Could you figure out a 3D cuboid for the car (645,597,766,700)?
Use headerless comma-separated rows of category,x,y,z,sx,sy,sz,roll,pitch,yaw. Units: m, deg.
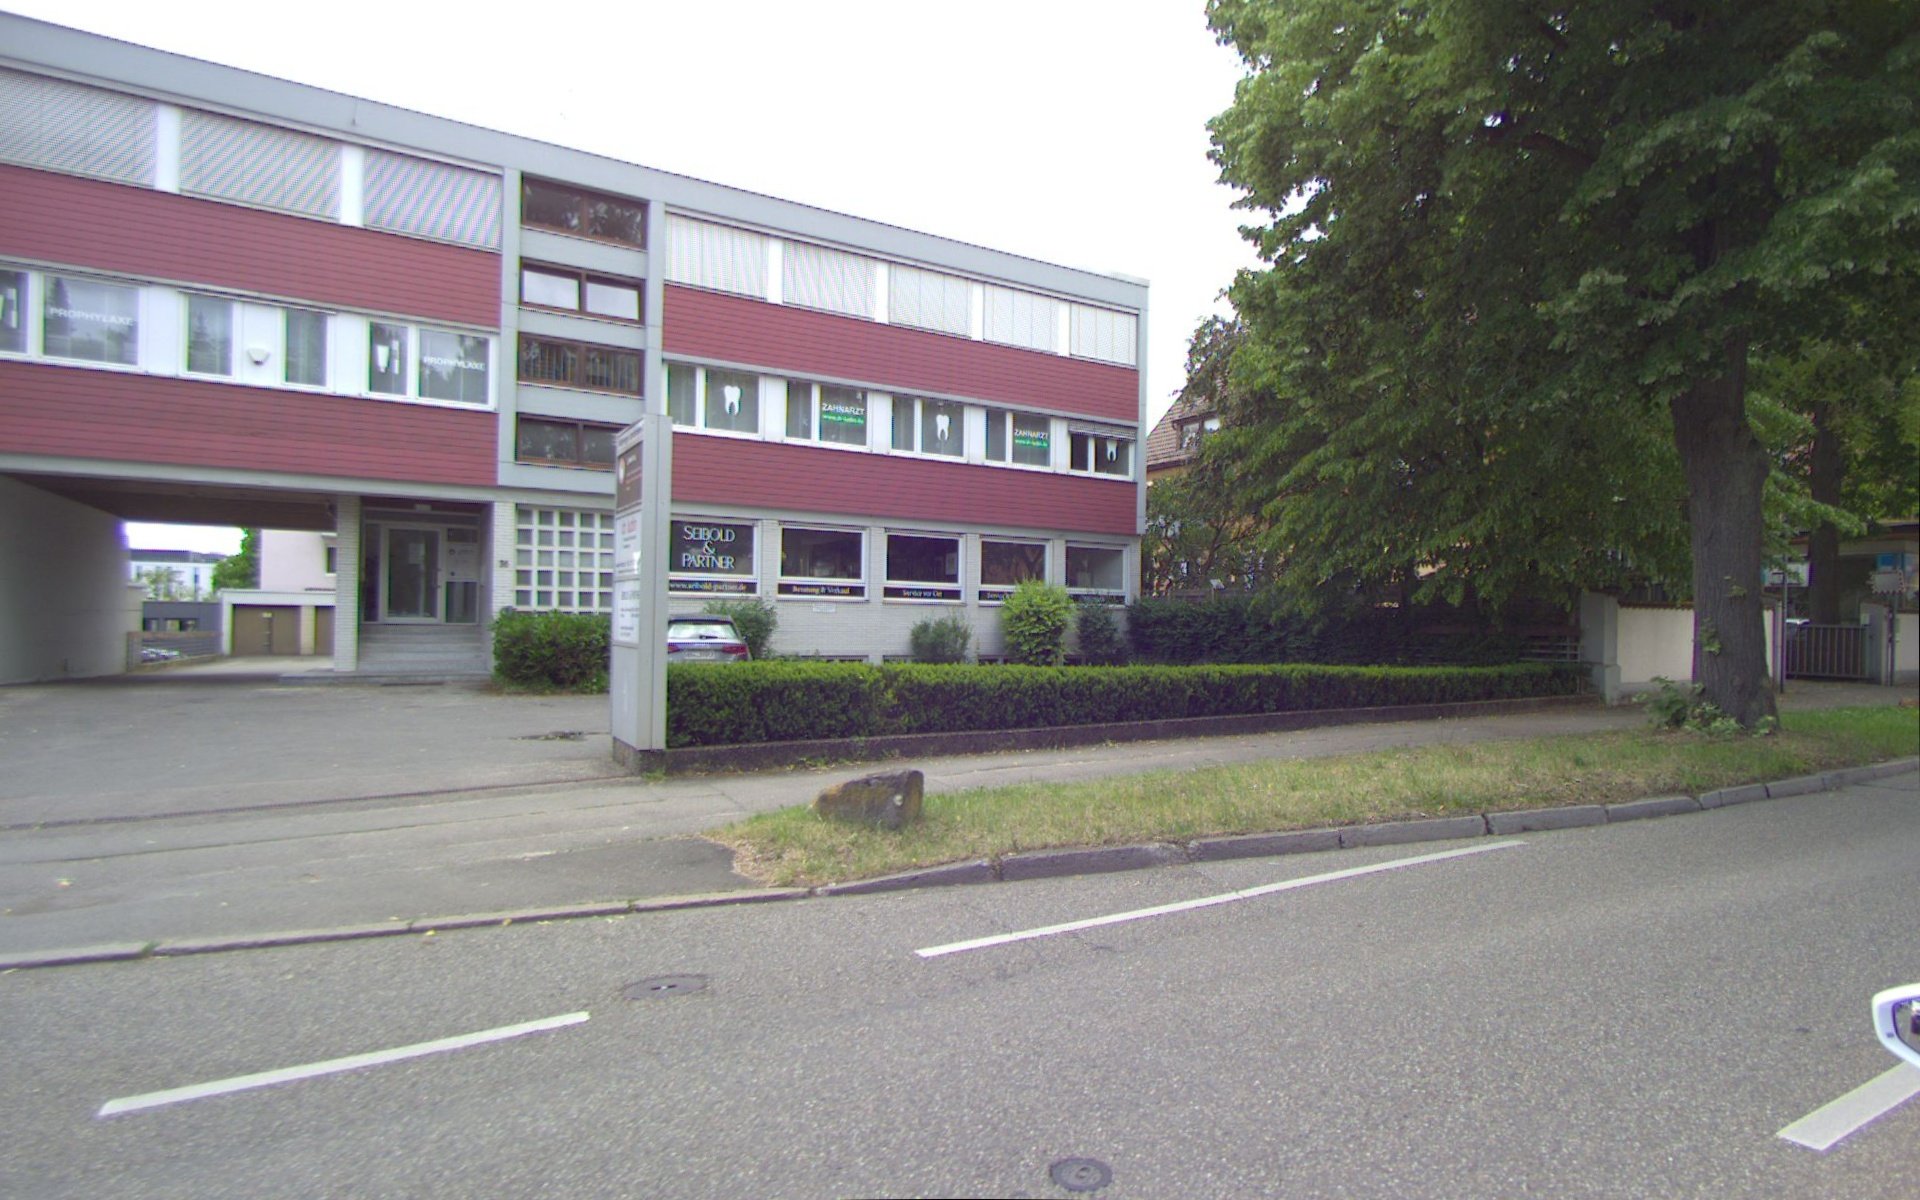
car,-4.477,0.761,17.615,1.782,1.499,4.138,2,0,-15

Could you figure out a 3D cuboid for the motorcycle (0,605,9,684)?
motorcycle,-14.194,0.671,14.220,0.632,1.155,1.634,2,1,-29
